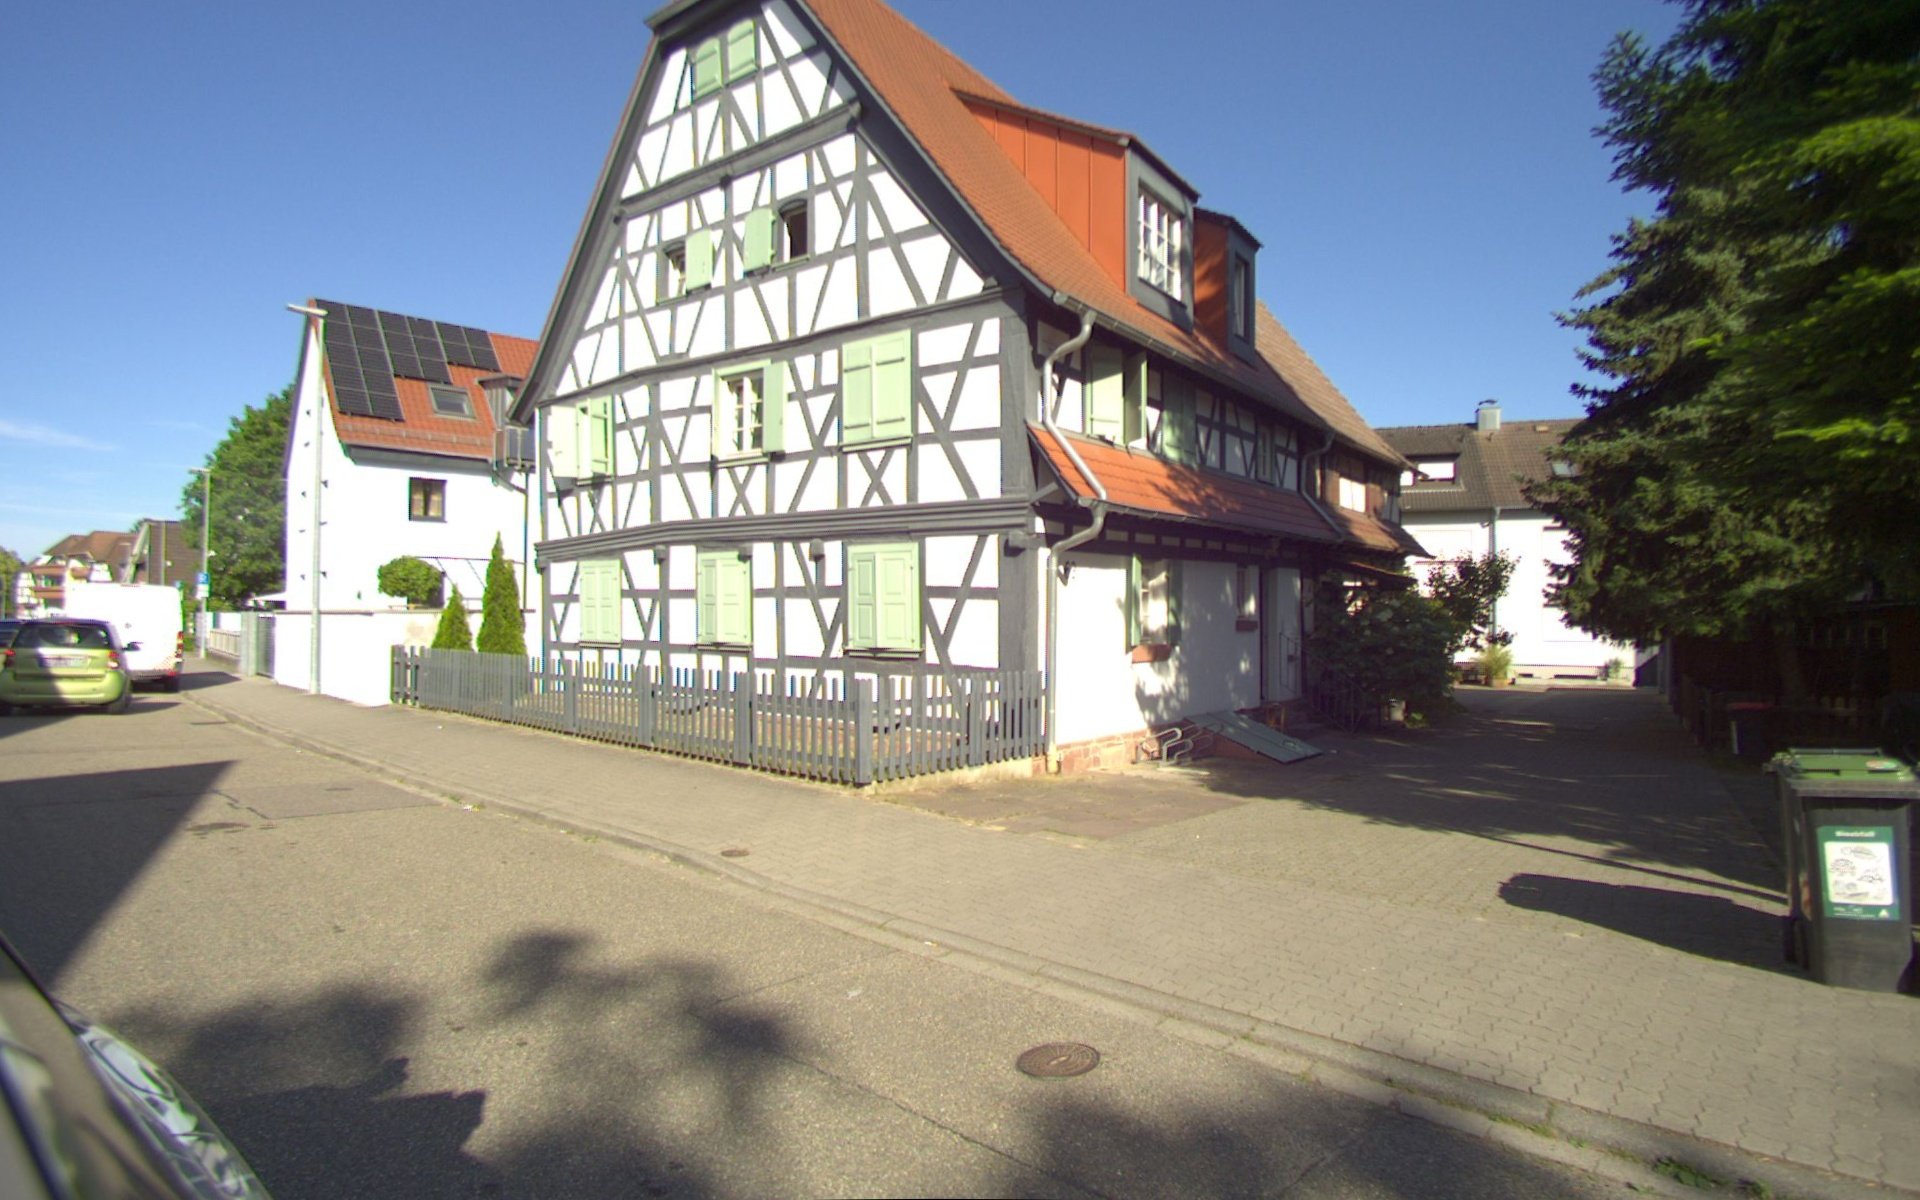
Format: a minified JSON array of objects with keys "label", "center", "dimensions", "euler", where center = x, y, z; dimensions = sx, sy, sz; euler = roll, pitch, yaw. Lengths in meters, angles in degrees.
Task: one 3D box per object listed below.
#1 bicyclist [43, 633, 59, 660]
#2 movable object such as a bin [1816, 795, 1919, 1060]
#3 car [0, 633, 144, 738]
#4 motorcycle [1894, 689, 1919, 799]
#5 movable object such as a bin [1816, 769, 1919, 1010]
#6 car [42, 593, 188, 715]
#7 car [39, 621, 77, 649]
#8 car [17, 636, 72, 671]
[{"label":"bicyclist","center":[-56.365,2.900,62.733],"dimensions":[0.634,1.677,0.605],"euler":[4,-4,-44]},{"label":"movable object such as a bin","center":[3.763,1.283,4.023],"dimensions":[0.490,0.931,0.435],"euler":[-5,-6,41]},{"label":"car","center":[-14.627,1.353,16.672],"dimensions":[1.553,1.558,2.972],"euler":[4,-4,-35]},{"label":"motorcycle","center":[12.904,1.773,12.330],"dimensions":[2.143,1.363,0.587],"euler":[-5,-6,41]},{"label":"movable object such as a bin","center":[4.047,1.227,4.358],"dimensions":[0.490,0.931,0.415],"euler":[-5,-6,41]},{"label":"car","center":[-19.179,1.194,22.943],"dimensions":[2.170,2.408,6.073],"euler":[4,-4,-41]},{"label":"car","center":[-83.460,3.241,93.612],"dimensions":[5.518,2.489,2.227],"euler":[-2,-4,45]},{"label":"car","center":[-41.805,2.398,46.253],"dimensions":[1.786,1.486,4.850],"euler":[1,-2,-42]}]
